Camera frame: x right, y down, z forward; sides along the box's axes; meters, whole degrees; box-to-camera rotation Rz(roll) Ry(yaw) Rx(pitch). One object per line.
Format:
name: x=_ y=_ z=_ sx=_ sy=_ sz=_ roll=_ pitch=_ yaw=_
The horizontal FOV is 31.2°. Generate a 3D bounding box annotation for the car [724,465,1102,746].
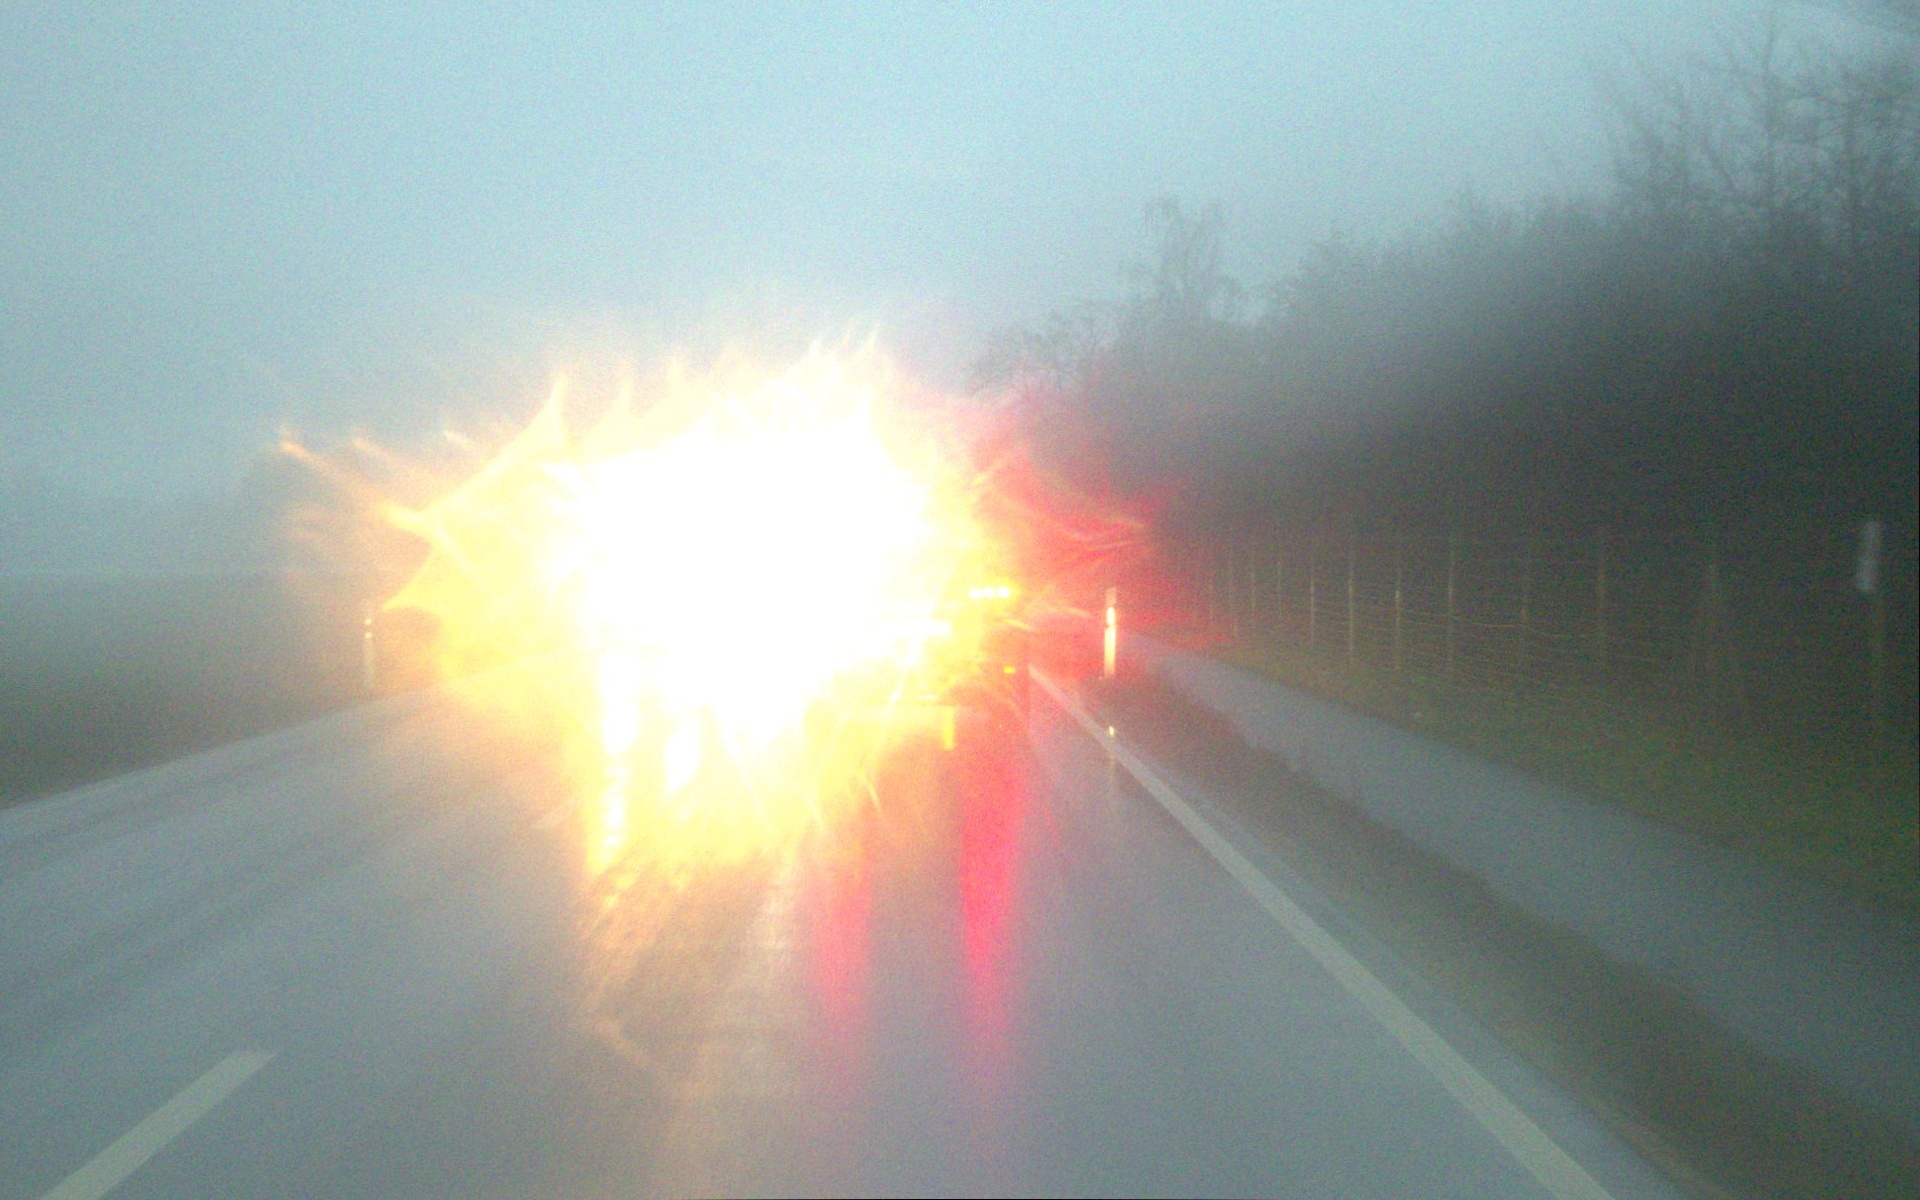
car: x=-0.353 y=0.002 z=28.965 sx=2.820 sy=2.070 sz=5.804 roll=1 pitch=1 yaw=0

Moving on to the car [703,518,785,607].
car: x=-5.345 y=-0.934 z=85.613 sx=1.915 sy=2.130 sz=4.314 roll=-1 pitch=1 yaw=-2

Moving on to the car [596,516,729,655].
car: x=-4.773 y=-0.262 z=55.667 sx=1.915 sy=2.130 sz=4.314 roll=-1 pitch=1 yaw=-2
